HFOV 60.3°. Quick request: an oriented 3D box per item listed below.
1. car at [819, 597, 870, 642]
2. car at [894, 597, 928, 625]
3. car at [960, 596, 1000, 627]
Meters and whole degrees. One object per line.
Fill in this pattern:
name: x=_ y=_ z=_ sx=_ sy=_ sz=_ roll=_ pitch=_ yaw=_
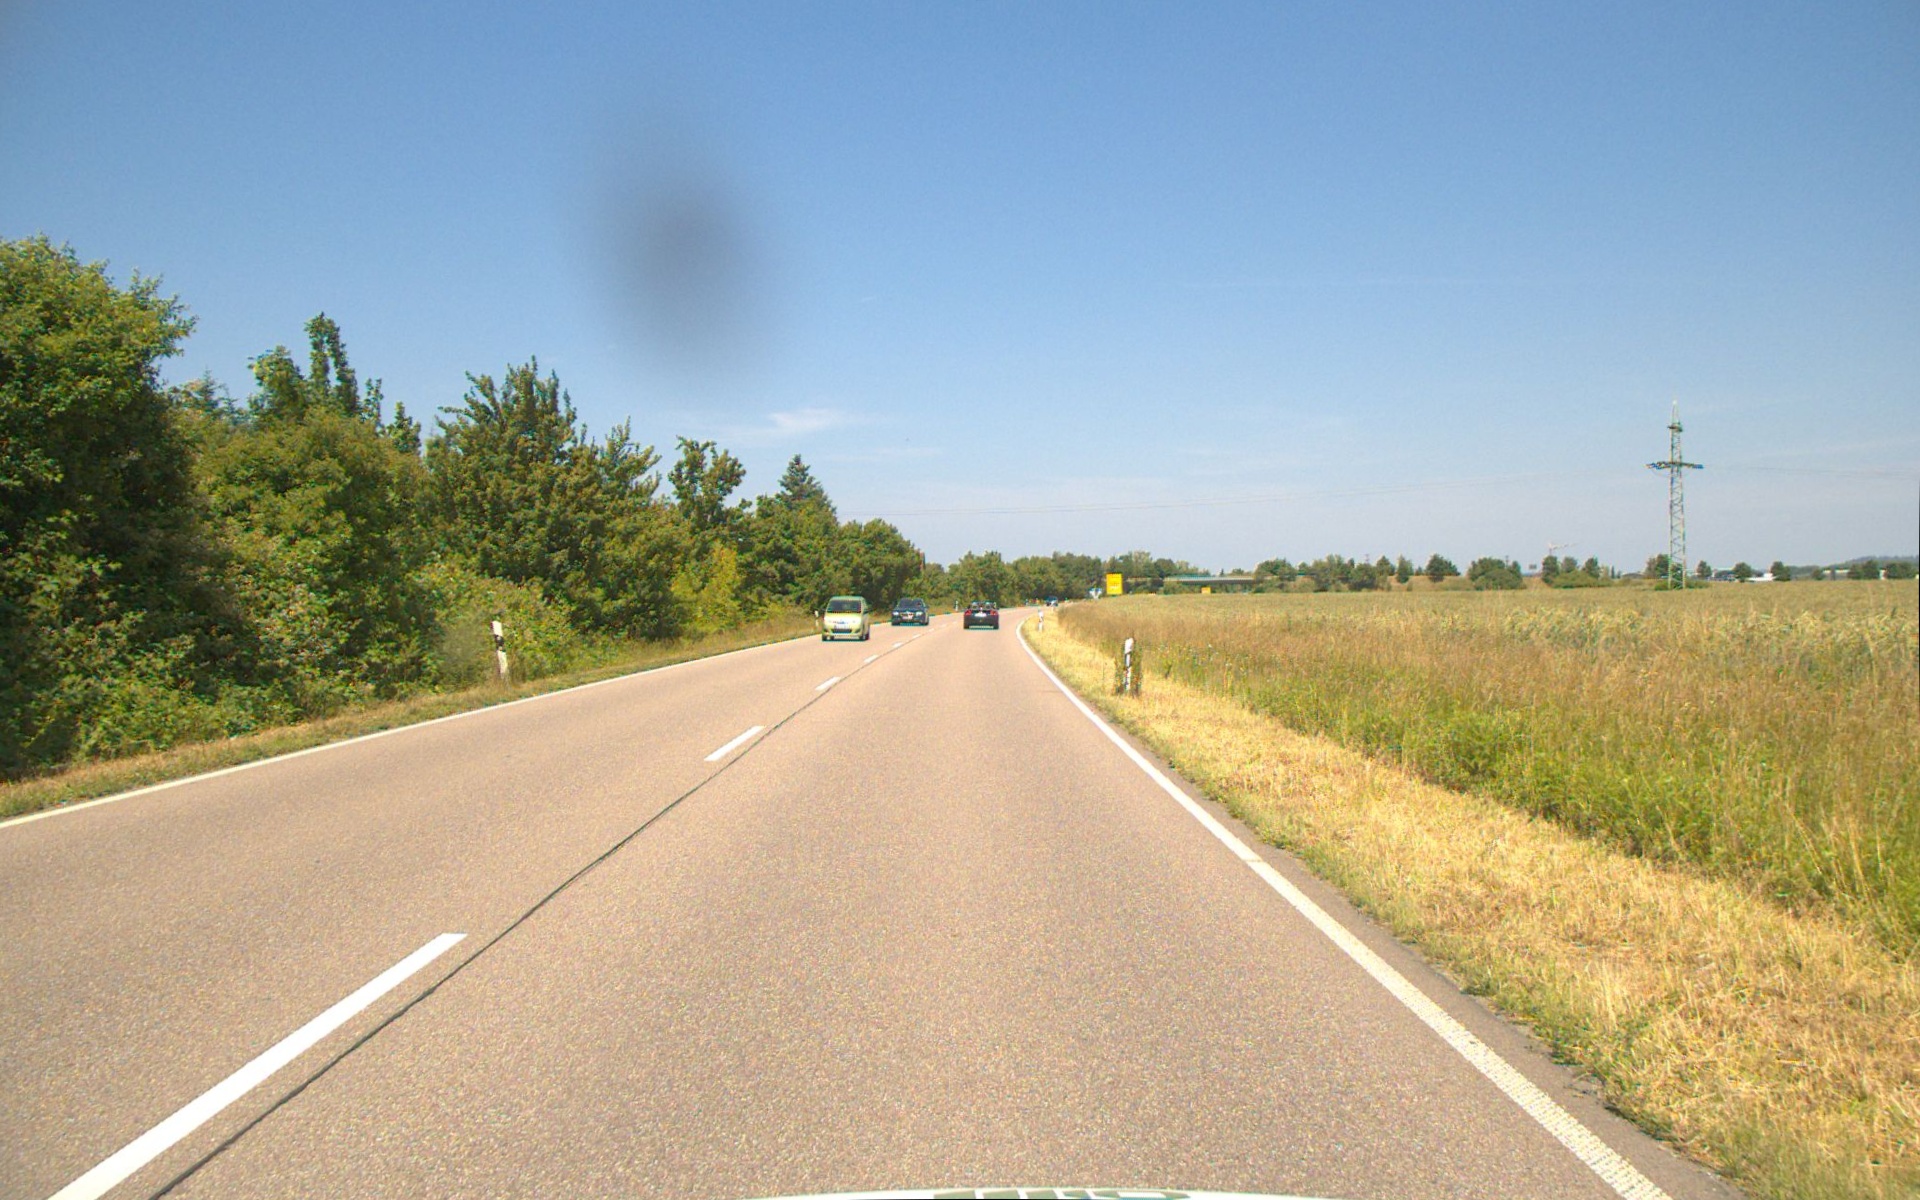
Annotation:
car: x=-4.079 y=0.673 z=58.764 sx=1.465 sy=1.521 sz=3.833 roll=0 pitch=0 yaw=1
car: x=-2.660 y=0.575 z=90.670 sx=1.764 sy=1.476 sz=4.533 roll=0 pitch=0 yaw=0
car: x=1.027 y=0.567 z=82.077 sx=1.776 sy=1.466 sz=4.001 roll=1 pitch=0 yaw=3
